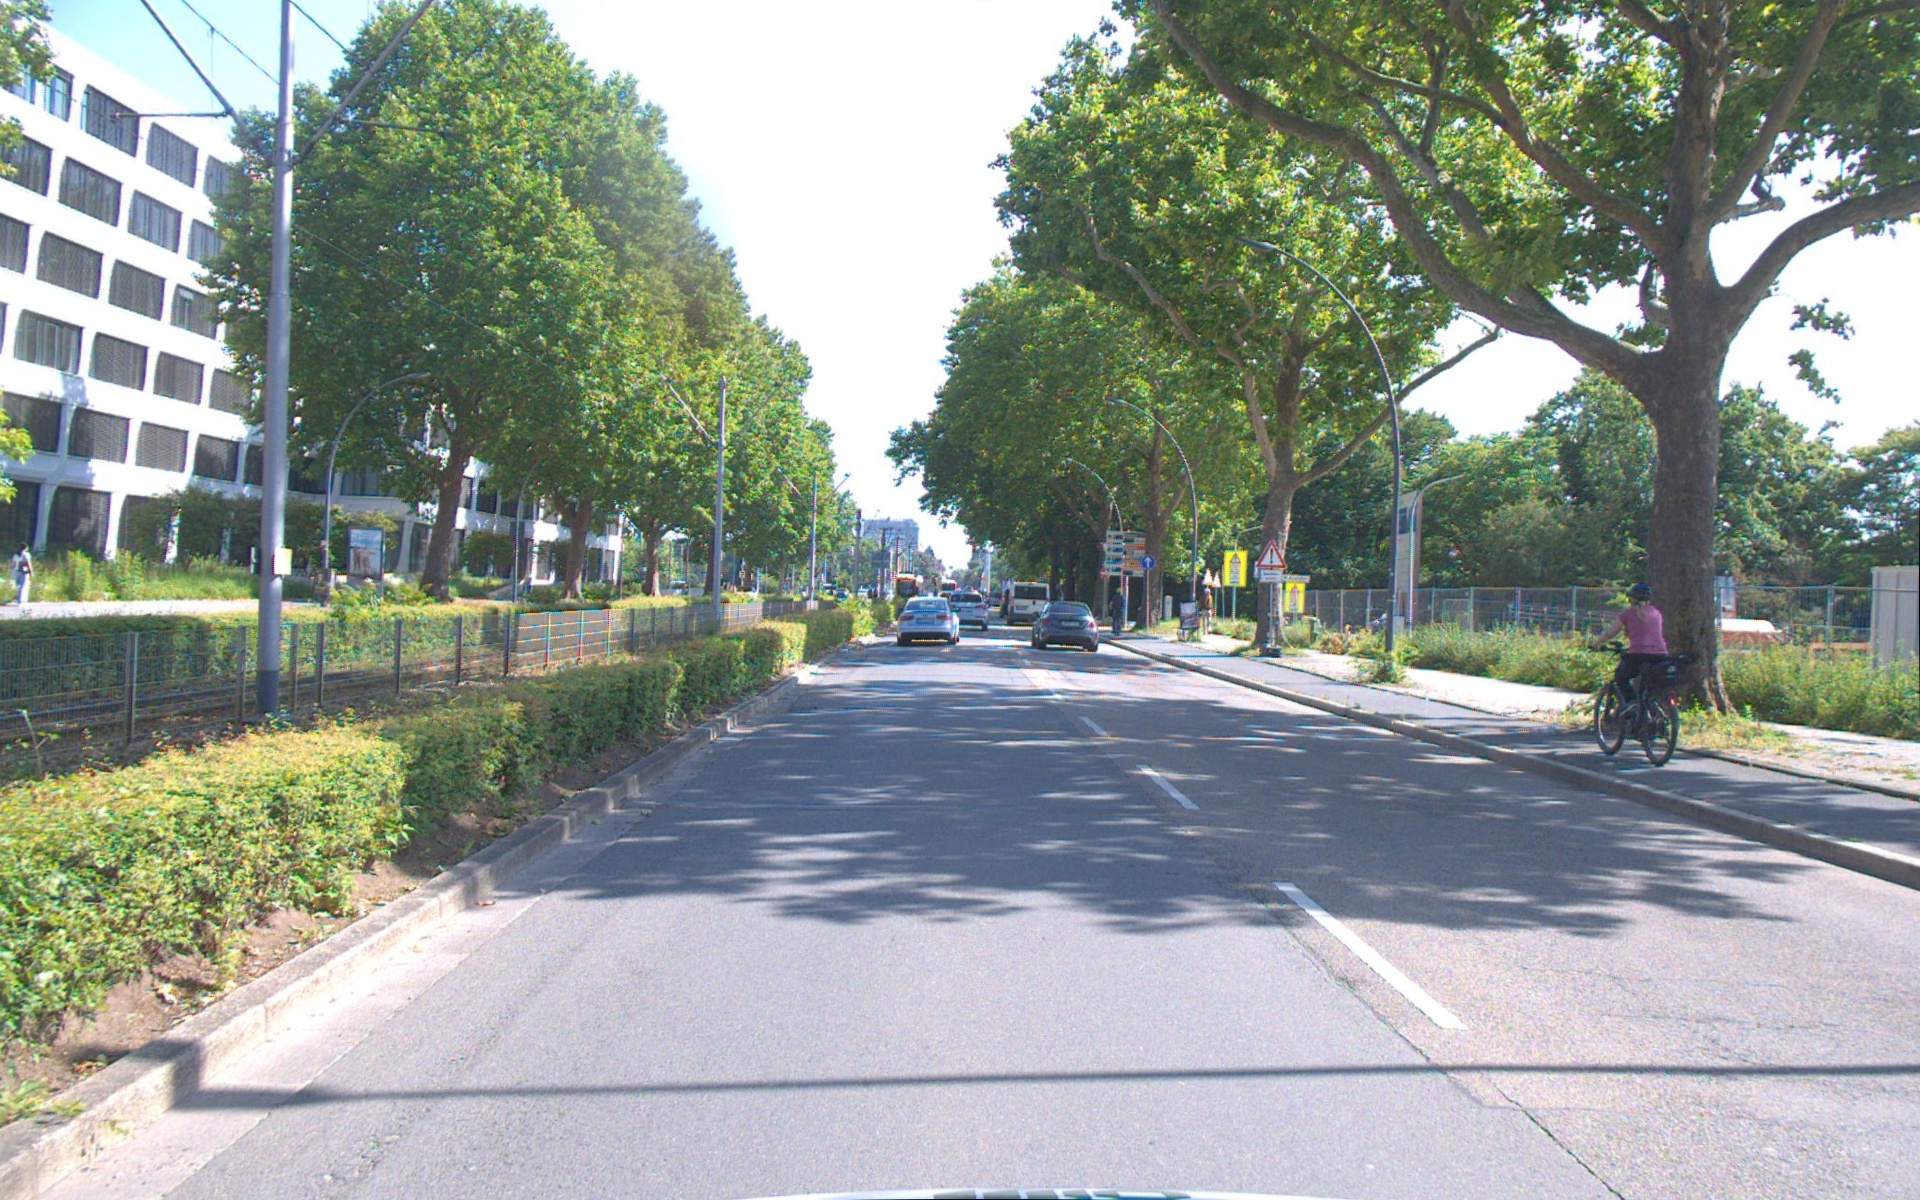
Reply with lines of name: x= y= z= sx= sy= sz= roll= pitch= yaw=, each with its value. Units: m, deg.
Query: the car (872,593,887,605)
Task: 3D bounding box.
car: x=-11.936 y=-0.162 z=245.946 sx=1.952 sy=1.764 sz=4.001 roll=2 pitch=0 yaw=1

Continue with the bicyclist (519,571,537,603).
bicyclist: x=-21.031 y=-0.637 z=80.463 sx=0.641 sy=1.561 sz=0.641 roll=2 pitch=0 yaw=1

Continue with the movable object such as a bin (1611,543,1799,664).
movable object such as a bin: x=21.089 y=0.063 z=47.173 sx=2.322 sy=3.125 sz=5.983 roll=2 pitch=0 yaw=-3

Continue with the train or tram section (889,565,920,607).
train or tram section: x=-5.617 y=-1.395 z=168.705 sx=2.563 sy=4.085 sz=7.750 roll=2 pitch=0 yaw=1

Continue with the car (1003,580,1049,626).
car: x=3.415 y=0.144 z=86.594 sx=2.184 sy=2.250 sz=4.162 roll=2 pitch=0 yaw=1

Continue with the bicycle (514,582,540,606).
bicycle: x=-21.036 y=-0.296 z=80.423 sx=0.650 sy=1.144 sz=2.031 roll=2 pitch=0 yaw=1

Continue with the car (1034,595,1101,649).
car: x=3.171 y=0.625 z=49.376 sx=1.746 sy=1.445 sz=4.000 roll=2 pitch=0 yaw=1

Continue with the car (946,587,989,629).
car: x=0.326 y=0.328 z=69.395 sx=1.694 sy=1.633 sz=3.885 roll=2 pitch=0 yaw=1

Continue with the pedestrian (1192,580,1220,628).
pedestrian: x=10.119 y=0.166 z=68.050 sx=0.919 sy=1.925 sz=1.151 roll=2 pitch=0 yaw=0

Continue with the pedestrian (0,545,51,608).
pedestrian: x=-24.432 y=-0.610 z=43.254 sx=0.705 sy=1.616 sz=1.015 roll=2 pitch=0 yaw=1

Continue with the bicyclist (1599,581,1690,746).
bicyclist: x=6.869 y=0.620 z=16.620 sx=0.607 sy=1.628 sz=0.732 roll=0 pitch=0 yaw=-2

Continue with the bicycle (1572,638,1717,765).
bicycle: x=6.874 y=0.989 z=16.713 sx=0.638 sy=1.149 sz=1.945 roll=1 pitch=0 yaw=0

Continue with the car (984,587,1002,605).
car: x=3.855 y=-0.457 z=195.866 sx=2.029 sy=2.034 sz=4.058 roll=2 pitch=0 yaw=1

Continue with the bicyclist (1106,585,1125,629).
bicyclist: x=6.063 y=0.275 z=64.385 sx=0.621 sy=1.676 sz=0.979 roll=0 pitch=2 yaw=0

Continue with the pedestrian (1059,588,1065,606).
pedestrian: x=11.429 y=-0.336 z=185.487 sx=0.600 sy=1.929 sz=0.694 roll=2 pitch=0 yaw=-2

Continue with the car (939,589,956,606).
car: x=-1.281 y=-0.246 z=170.113 sx=1.694 sy=1.659 sz=4.000 roll=2 pitch=0 yaw=1

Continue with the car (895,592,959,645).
car: x=-0.962 y=0.534 z=50.253 sx=1.748 sy=1.445 sz=3.885 roll=2 pitch=0 yaw=1

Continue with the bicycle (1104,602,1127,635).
bicycle: x=6.048 y=0.715 z=64.409 sx=0.700 sy=1.168 sz=2.178 roll=0 pitch=2 yaw=0
